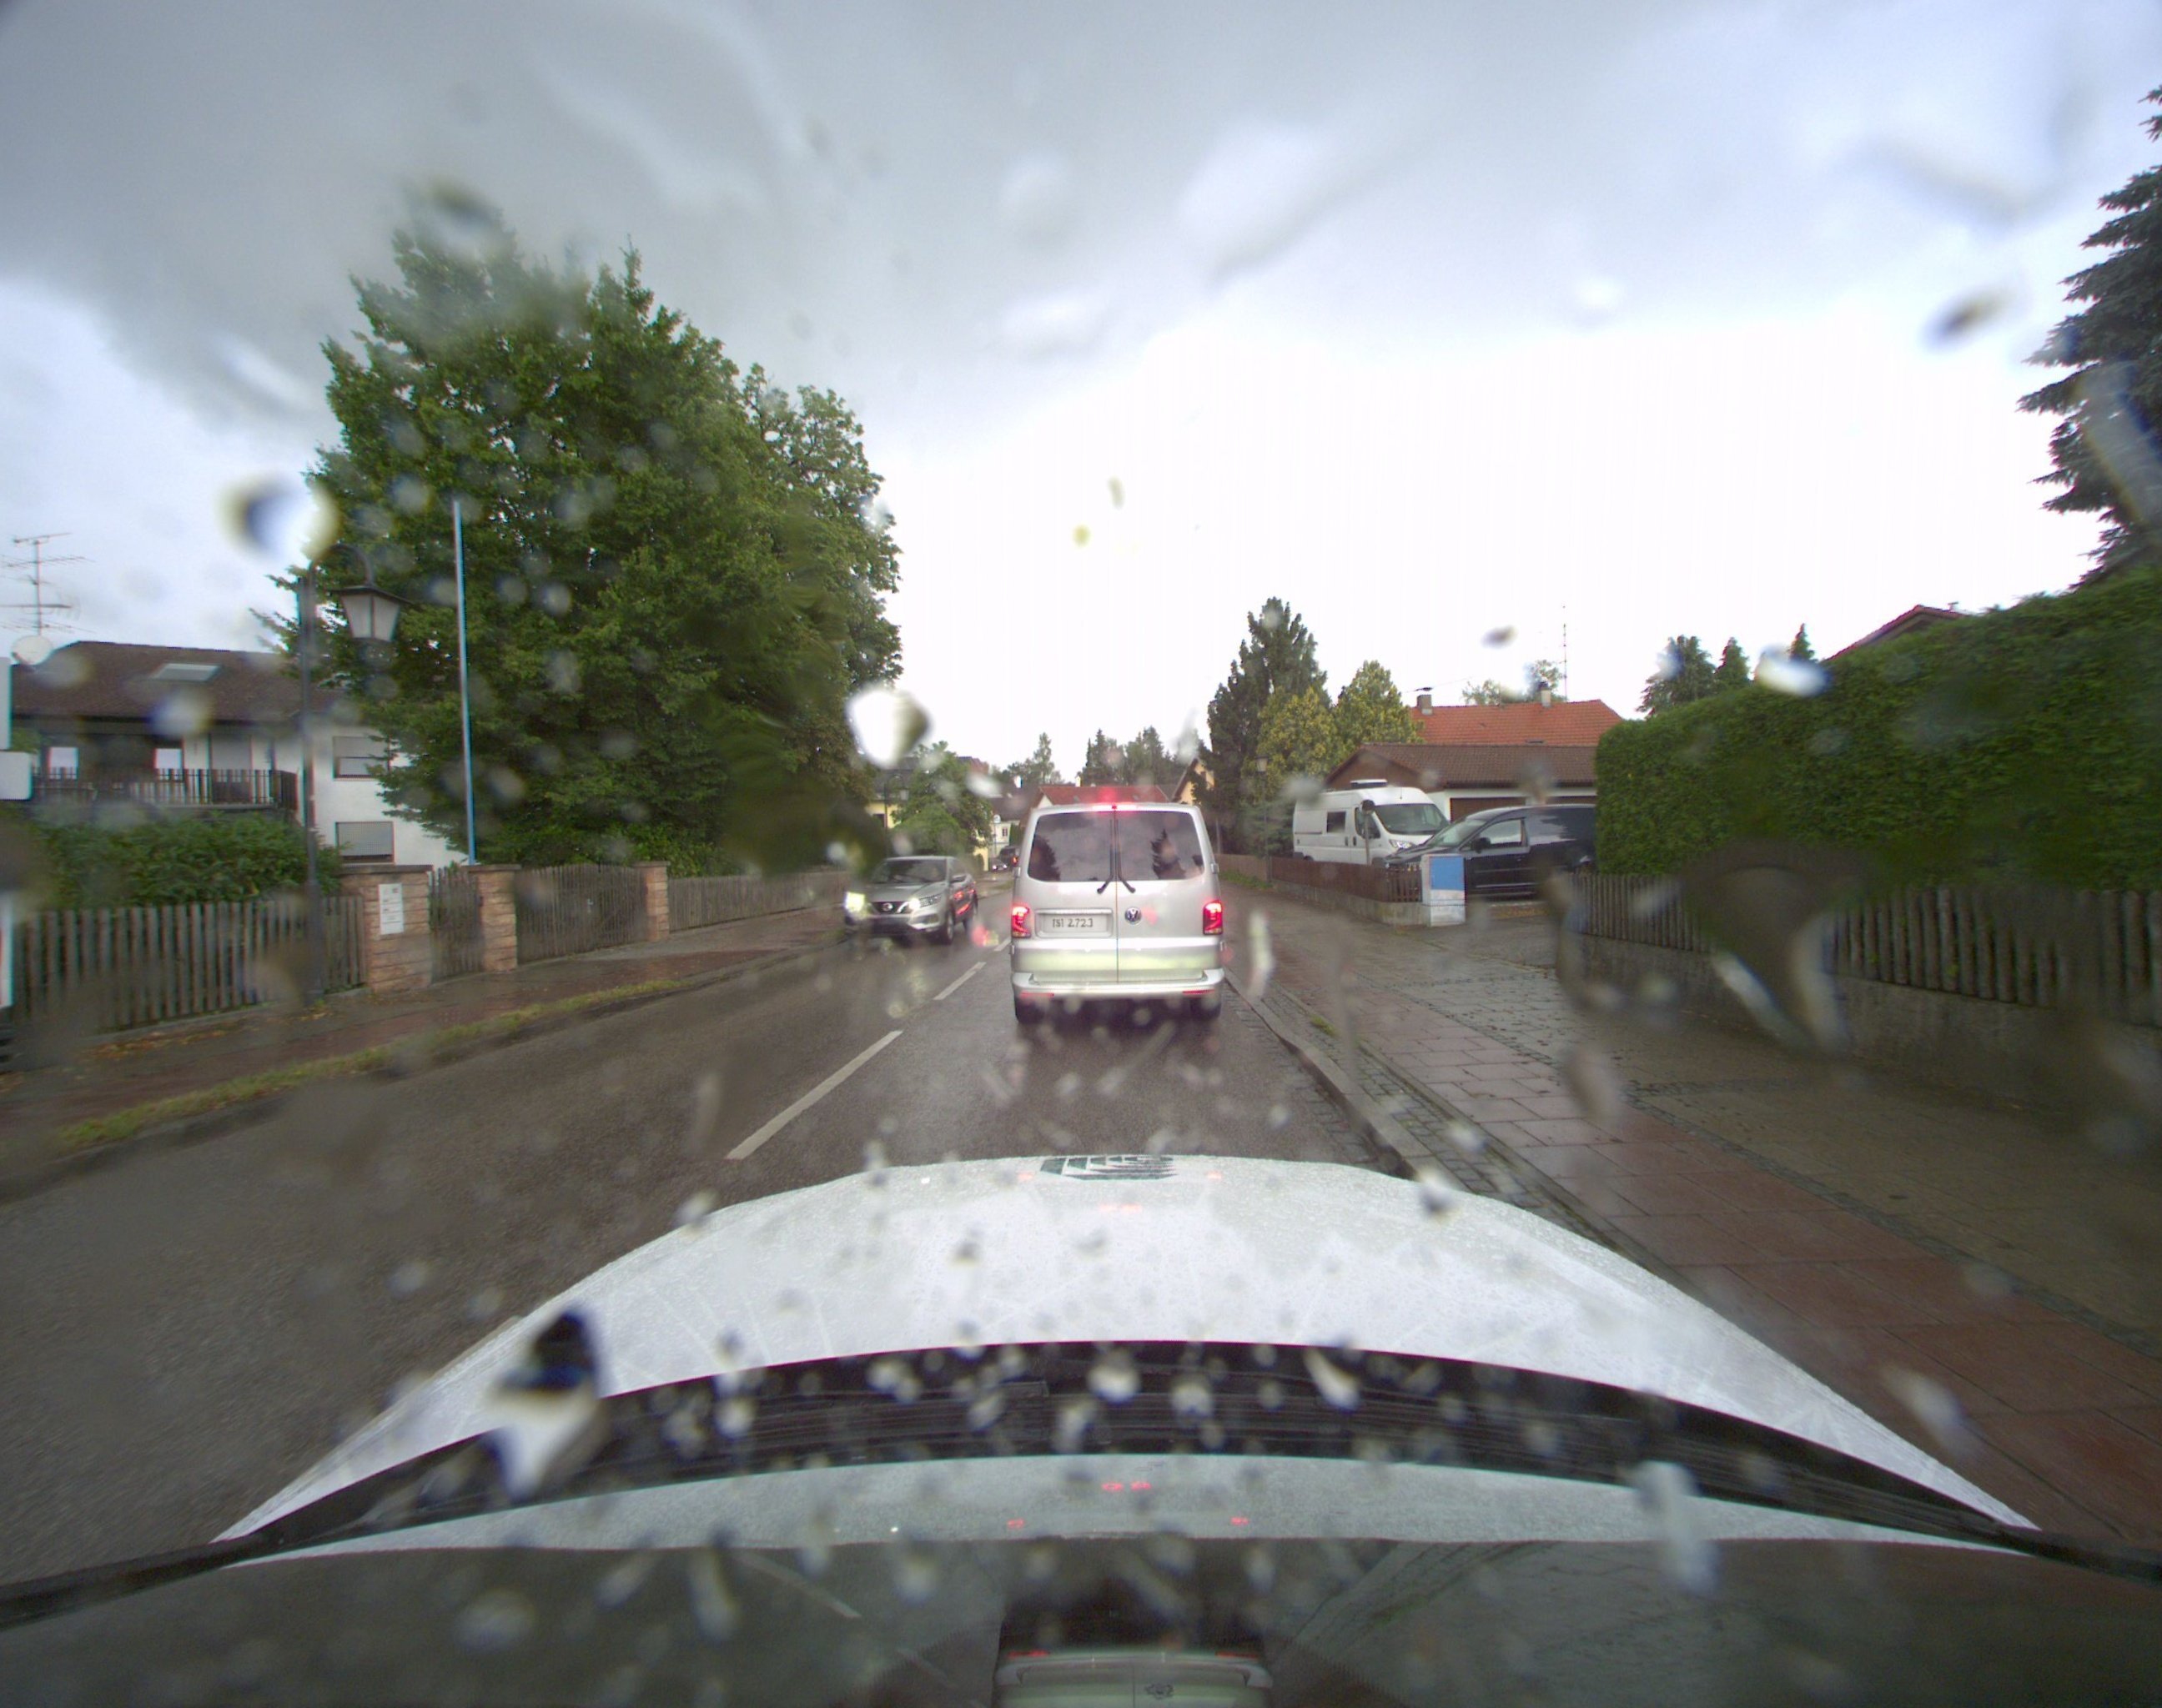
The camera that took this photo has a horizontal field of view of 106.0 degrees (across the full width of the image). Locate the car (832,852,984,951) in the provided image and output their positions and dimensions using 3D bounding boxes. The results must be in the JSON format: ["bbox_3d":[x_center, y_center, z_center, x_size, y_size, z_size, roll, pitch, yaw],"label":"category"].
[{"bbox_3d":[-3.083,0.805,15.450,1.820,1.558,4.179,-2,-1,2],"label":"car"}]

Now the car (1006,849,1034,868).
[{"bbox_3d":[-6.804,0.552,89.950,2.002,2.014,3.970,0,-1,-22],"label":"car"}]

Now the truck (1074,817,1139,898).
[{"bbox_3d":[1.045,0.179,34.093,2.466,3.074,6.297,0,-1,1],"label":"truck"}]

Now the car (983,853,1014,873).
[{"bbox_3d":[-8.640,0.930,84.935,2.003,2.014,3.967,0,-1,-25],"label":"car"}]

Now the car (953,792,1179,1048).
[{"bbox_3d":[0.031,0.547,8.457,1.792,2.014,4.004,0,-1,4],"label":"car"}]

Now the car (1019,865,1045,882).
[{"bbox_3d":[-3.885,1.519,65.309,1.773,1.310,3.777,0,-1,2],"label":"car"}]

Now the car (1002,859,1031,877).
[{"bbox_3d":[-7.123,1.541,89.772,2.003,1.927,3.968,0,-1,-24],"label":"car"}]

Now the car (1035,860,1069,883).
[{"bbox_3d":[-1.674,1.045,48.528,1.773,1.310,3.777,0,-1,2],"label":"car"}]

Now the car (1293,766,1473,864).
[{"bbox_3d":[7.419,-0.826,20.664,1.995,2.174,4.933,0,-1,-11],"label":"car"}]

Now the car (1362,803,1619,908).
[{"bbox_3d":[7.730,-0.006,15.614,4.082,1.751,1.693,-2,2,-2],"label":"car"}]
